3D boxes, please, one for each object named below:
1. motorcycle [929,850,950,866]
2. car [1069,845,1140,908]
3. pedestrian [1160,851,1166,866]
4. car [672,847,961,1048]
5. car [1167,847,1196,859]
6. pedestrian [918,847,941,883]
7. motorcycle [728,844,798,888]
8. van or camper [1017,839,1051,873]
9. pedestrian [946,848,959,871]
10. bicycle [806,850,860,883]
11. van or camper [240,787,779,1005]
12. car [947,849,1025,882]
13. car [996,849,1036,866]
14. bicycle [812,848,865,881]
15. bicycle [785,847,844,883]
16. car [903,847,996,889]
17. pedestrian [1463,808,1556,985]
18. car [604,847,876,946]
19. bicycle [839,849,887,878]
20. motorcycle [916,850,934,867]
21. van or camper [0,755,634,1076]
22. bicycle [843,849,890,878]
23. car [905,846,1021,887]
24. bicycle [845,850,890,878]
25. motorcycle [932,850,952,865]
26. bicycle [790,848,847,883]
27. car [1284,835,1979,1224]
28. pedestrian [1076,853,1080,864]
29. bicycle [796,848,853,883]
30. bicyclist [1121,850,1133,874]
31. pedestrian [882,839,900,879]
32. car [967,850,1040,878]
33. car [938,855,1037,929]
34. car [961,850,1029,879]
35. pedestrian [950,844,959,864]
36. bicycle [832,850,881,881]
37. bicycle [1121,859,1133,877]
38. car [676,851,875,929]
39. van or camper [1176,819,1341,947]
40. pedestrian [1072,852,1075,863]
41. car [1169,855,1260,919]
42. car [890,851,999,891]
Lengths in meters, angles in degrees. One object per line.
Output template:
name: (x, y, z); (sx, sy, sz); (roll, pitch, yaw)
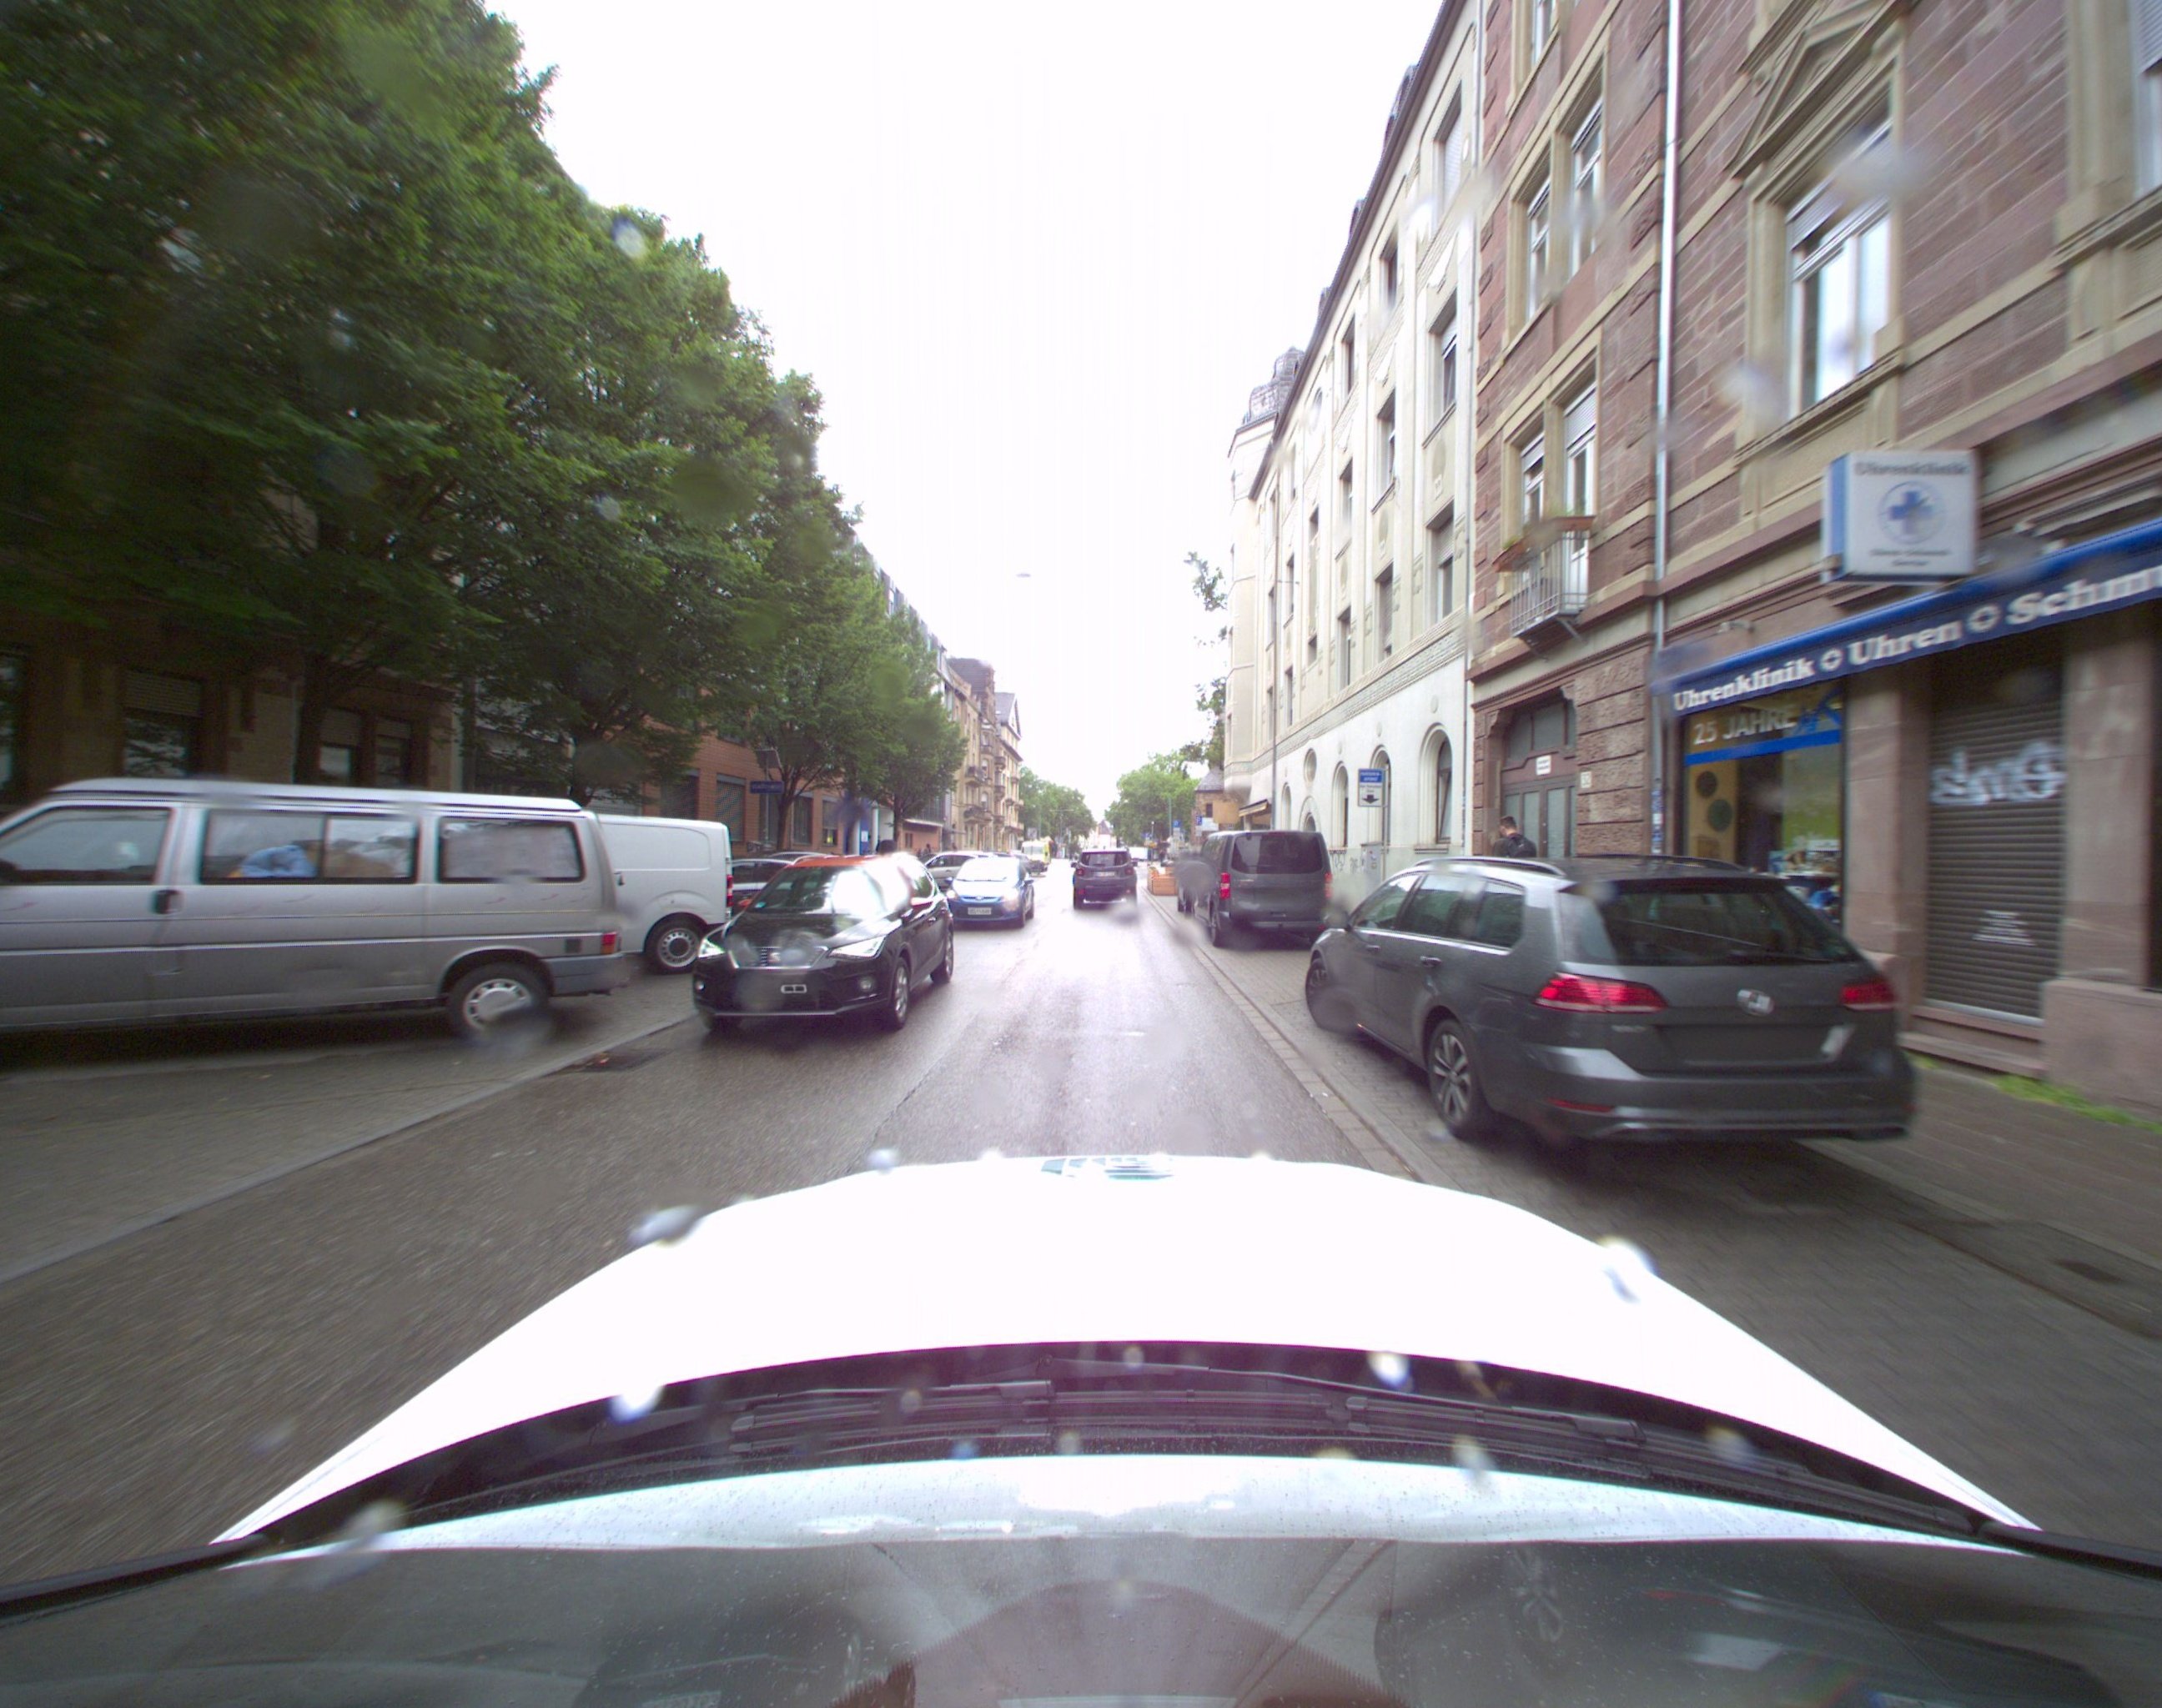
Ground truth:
motorcycle: (-11.039, 0.343, 63.668); (0.748, 1.174, 2.123); (3, 0, 14)
car: (0.668, 0.612, 24.065); (1.892, 1.671, 4.506); (0, 0, 1)
pedestrian: (9.585, 0.489, 95.085); (0.688, 1.711, 0.684); (0, 0, 2)
car: (-2.367, 0.740, 8.394); (1.664, 1.559, 4.002); (1, 0, 0)
car: (21.321, -0.210, 172.919); (5.875, 2.334, 2.063); (0, 0, 5)
pedestrian: (-7.588, 0.535, 40.725); (0.820, 1.752, 0.759); (3, 0, 8)
motorcycle: (-10.172, 0.380, 26.099); (1.873, 1.225, 0.657); (6, 0, 5)
van or camper: (-3.837, 0.224, 67.585); (2.113, 2.531, 6.876); (-3, -2, 2)
pedestrian: (-9.156, 0.381, 58.195); (0.705, 1.551, 0.609); (3, 0, 8)
bicycle: (-9.901, 0.488, 32.517); (1.890, 1.152, 0.553); (5, 0, -1)
van or camper: (-6.415, 0.407, 9.704); (4.721, 1.953, 2.310); (2, 1, -40)
car: (-4.620, 0.561, 39.589); (3.396, 1.542, 1.665); (1, 0, -30)
car: (-6.634, 0.378, 83.410); (3.679, 1.558, 1.780); (2, -1, -34)
bicycle: (-9.851, 0.415, 33.142); (1.890, 1.152, 0.553); (5, 0, -1)
bicycle: (-9.852, 0.412, 30.120); (1.890, 1.152, 0.553); (5, 0, -1)
car: (-5.403, 0.557, 33.511); (3.397, 1.654, 1.618); (0, 0, -31)
pedestrian: (4.918, 0.476, 9.394); (0.676, 1.934, 0.811); (1, -2, 3)
car: (-5.818, 0.692, 14.124); (3.998, 1.447, 1.748); (2, 0, -39)
bicycle: (-9.739, 0.414, 36.382); (1.890, 1.152, 0.553); (5, 0, -1)
motorcycle: (-11.343, 0.325, 59.397); (0.750, 1.174, 2.117); (3, 0, 2)
van or camper: (-6.123, 0.414, 6.373); (4.463, 1.975, 1.764); (3, -1, -32)
bicycle: (-9.764, 0.437, 37.095); (1.890, 1.152, 0.553); (5, 0, -1)
car: (-5.270, 0.576, 36.461); (4.539, 1.539, 2.315); (5, -3, -31)
bicycle: (-10.158, 0.484, 38.704); (1.890, 1.152, 0.553); (5, 0, -1)
motorcycle: (-11.153, 0.267, 65.468); (0.566, 1.174, 1.790); (3, 0, 25)
bicycle: (-9.875, 0.429, 30.679); (1.890, 1.152, 0.553); (5, 0, -1)
car: (2.696, 0.705, 5.250); (1.834, 1.545, 4.004); (0, 0, 1)
pedestrian: (-0.426, 0.597, 116.654); (0.466, 1.585, 0.752); (0, 0, 1)
bicycle: (-9.804, 0.446, 31.150); (1.890, 1.152, 0.553); (5, 0, -1)
bicyclist: (2.816, 0.487, 49.820); (0.702, 1.403, 1.172); (0, 0, 2)
pedestrian: (-8.038, 0.213, 34.385); (0.609, 1.707, 0.433); (1, -2, 2)
car: (-4.566, 0.585, 47.926); (3.841, 1.507, 1.971); (1, 0, -29)
car: (-1.945, 0.754, 18.042); (1.664, 1.465, 4.004); (0, 0, 1)
car: (-4.768, 0.588, 45.145); (3.395, 1.507, 1.665); (1, 0, -29)
pedestrian: (-10.909, -0.013, 70.266); (0.663, 1.757, 0.791); (0, 0, -22)
bicycle: (-9.757, 0.488, 35.390); (1.890, 1.152, 0.553); (5, 0, -1)
bicycle: (2.813, 0.858, 49.818); (0.702, 1.054, 1.814); (0, 0, 2)
car: (-6.248, 0.664, 16.827); (3.499, 1.435, 1.632); (0, 0, -41)
van or camper: (2.944, 0.432, 14.691); (2.014, 1.891, 5.056); (0, 0, 1)
pedestrian: (-1.100, 0.511, 115.891); (0.466, 1.585, 0.752); (0, 0, 1)
car: (3.178, 0.743, 20.026); (1.704, 1.400, 3.706); (0, 0, 1)
car: (-5.170, 0.609, 30.923); (3.728, 1.452, 1.668); (0, 0, -34)
